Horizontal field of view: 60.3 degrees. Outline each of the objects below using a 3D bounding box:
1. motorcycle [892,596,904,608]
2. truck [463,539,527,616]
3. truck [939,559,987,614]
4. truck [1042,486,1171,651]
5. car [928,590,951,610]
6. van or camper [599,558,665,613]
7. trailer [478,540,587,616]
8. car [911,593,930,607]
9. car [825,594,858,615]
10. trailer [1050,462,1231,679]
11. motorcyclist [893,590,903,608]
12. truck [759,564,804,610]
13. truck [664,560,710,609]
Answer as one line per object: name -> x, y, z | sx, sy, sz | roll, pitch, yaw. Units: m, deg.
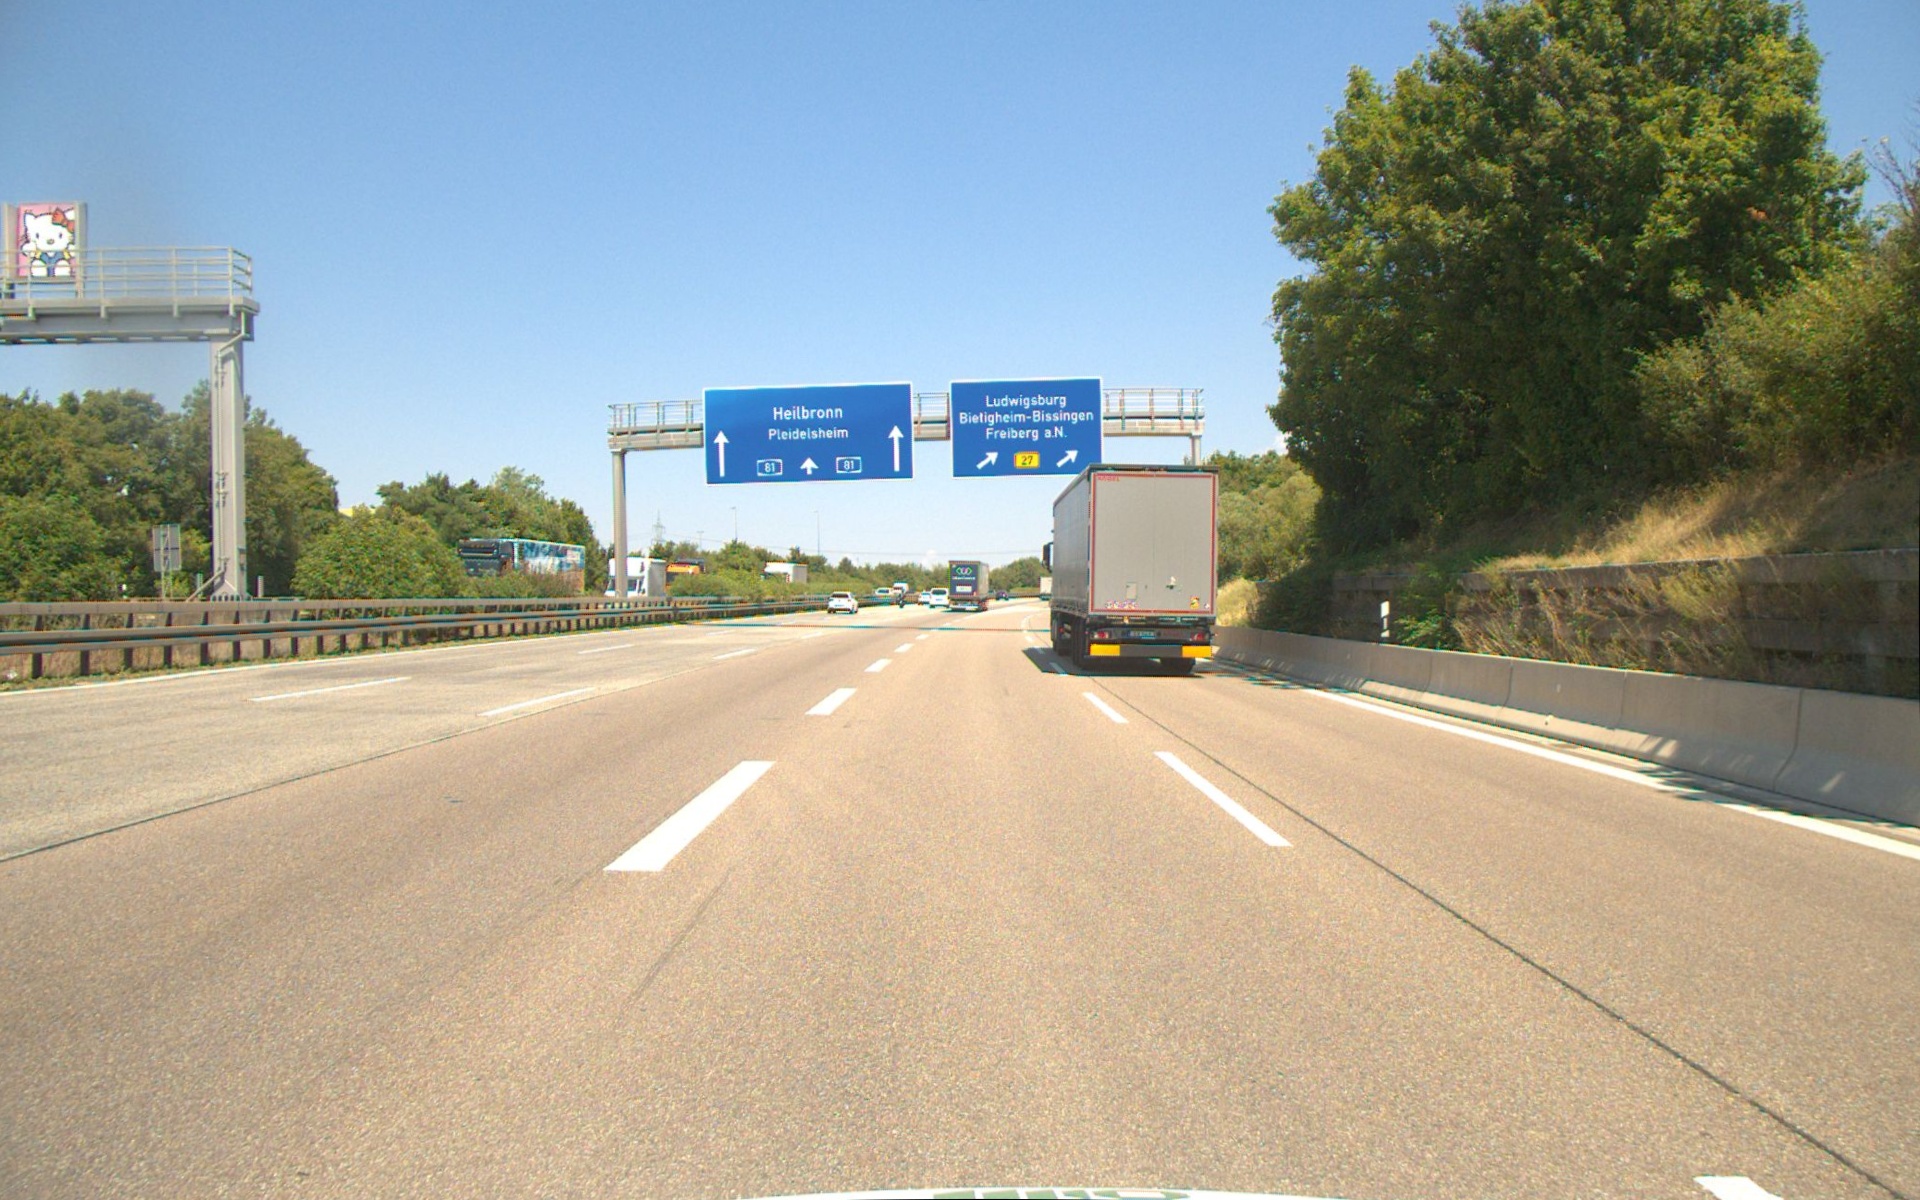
motorcycle -> -5.682, 0.206, 151.096 | 0.894, 1.108, 2.850 | 0, 0, 1
truck -> -24.486, -1.158, 87.162 | 1.952, 3.965, 4.342 | 1, 0, 2
truck -> 0.377, -1.122, 139.481 | 3.669, 4.345, 14.498 | 1, 0, 1
truck -> 3.835, -0.849, 44.984 | 2.868, 4.085, 7.584 | 0, 1, 0
car -> -1.969, -0.014, 158.485 | 1.890, 1.884, 4.694 | -1, 0, 3
van or camper -> -20.484, -0.914, 103.710 | 2.423, 3.277, 7.823 | 1, 0, 1
trailer -> -24.156, -1.166, 94.396 | 1.952, 3.991, 14.007 | 1, 0, 3
car -> -4.306, -0.013, 181.195 | 1.837, 1.466, 5.126 | 0, -1, 2
car -> -8.137, 0.316, 113.497 | 1.745, 1.466, 4.670 | 0, 0, 2
trailer -> 3.746, -0.679, 37.325 | 2.868, 4.085, 12.040 | 0, 1, 0
motorcyclist -> -5.676, -0.069, 151.068 | 0.875, 1.625, 1.300 | 0, 1, 2
truck -> -17.126, -1.203, 159.495 | 2.695, 4.281, 10.406 | 1, 0, 2
truck -> -22.460, -1.263, 136.256 | 2.695, 3.860, 5.104 | 1, 0, 2
